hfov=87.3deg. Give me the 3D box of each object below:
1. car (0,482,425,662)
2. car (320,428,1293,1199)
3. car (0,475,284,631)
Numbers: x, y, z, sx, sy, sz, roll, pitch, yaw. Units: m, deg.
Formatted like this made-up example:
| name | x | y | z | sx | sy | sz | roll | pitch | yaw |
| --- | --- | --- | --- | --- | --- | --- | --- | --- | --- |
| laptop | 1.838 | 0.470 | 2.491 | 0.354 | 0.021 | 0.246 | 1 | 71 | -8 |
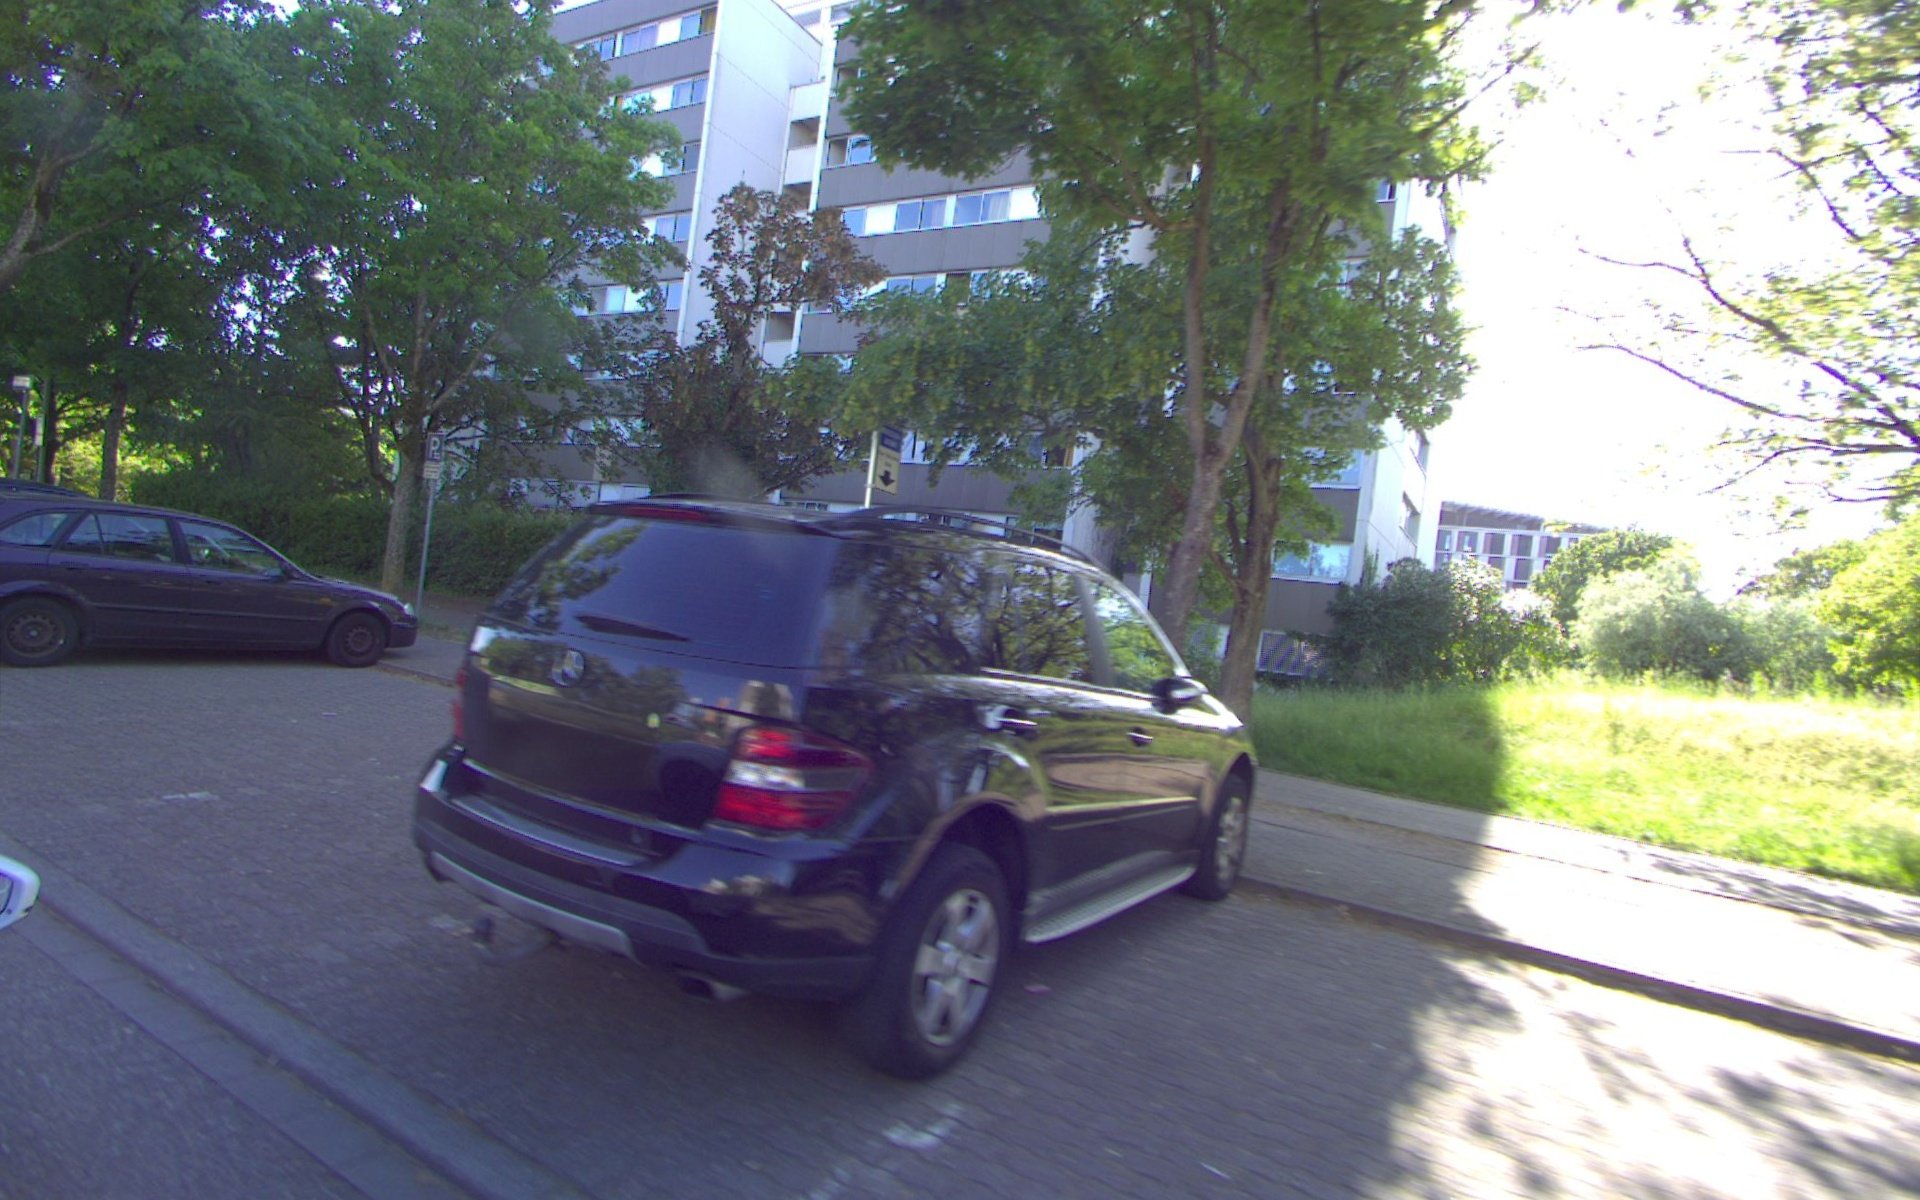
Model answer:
| name | x | y | z | sx | sy | sz | roll | pitch | yaw |
| --- | --- | --- | --- | --- | --- | --- | --- | --- | --- |
| car | -7.606 | -0.257 | 9.617 | 1.792 | 1.405 | 3.989 | 7 | 2 | 31 |
| car | -0.037 | 0.559 | 4.785 | 1.966 | 1.801 | 4.591 | 7 | 1 | 31 |
| car | -9.941 | -0.536 | 11.015 | 1.672 | 1.518 | 3.814 | 7 | 1 | 28 |
